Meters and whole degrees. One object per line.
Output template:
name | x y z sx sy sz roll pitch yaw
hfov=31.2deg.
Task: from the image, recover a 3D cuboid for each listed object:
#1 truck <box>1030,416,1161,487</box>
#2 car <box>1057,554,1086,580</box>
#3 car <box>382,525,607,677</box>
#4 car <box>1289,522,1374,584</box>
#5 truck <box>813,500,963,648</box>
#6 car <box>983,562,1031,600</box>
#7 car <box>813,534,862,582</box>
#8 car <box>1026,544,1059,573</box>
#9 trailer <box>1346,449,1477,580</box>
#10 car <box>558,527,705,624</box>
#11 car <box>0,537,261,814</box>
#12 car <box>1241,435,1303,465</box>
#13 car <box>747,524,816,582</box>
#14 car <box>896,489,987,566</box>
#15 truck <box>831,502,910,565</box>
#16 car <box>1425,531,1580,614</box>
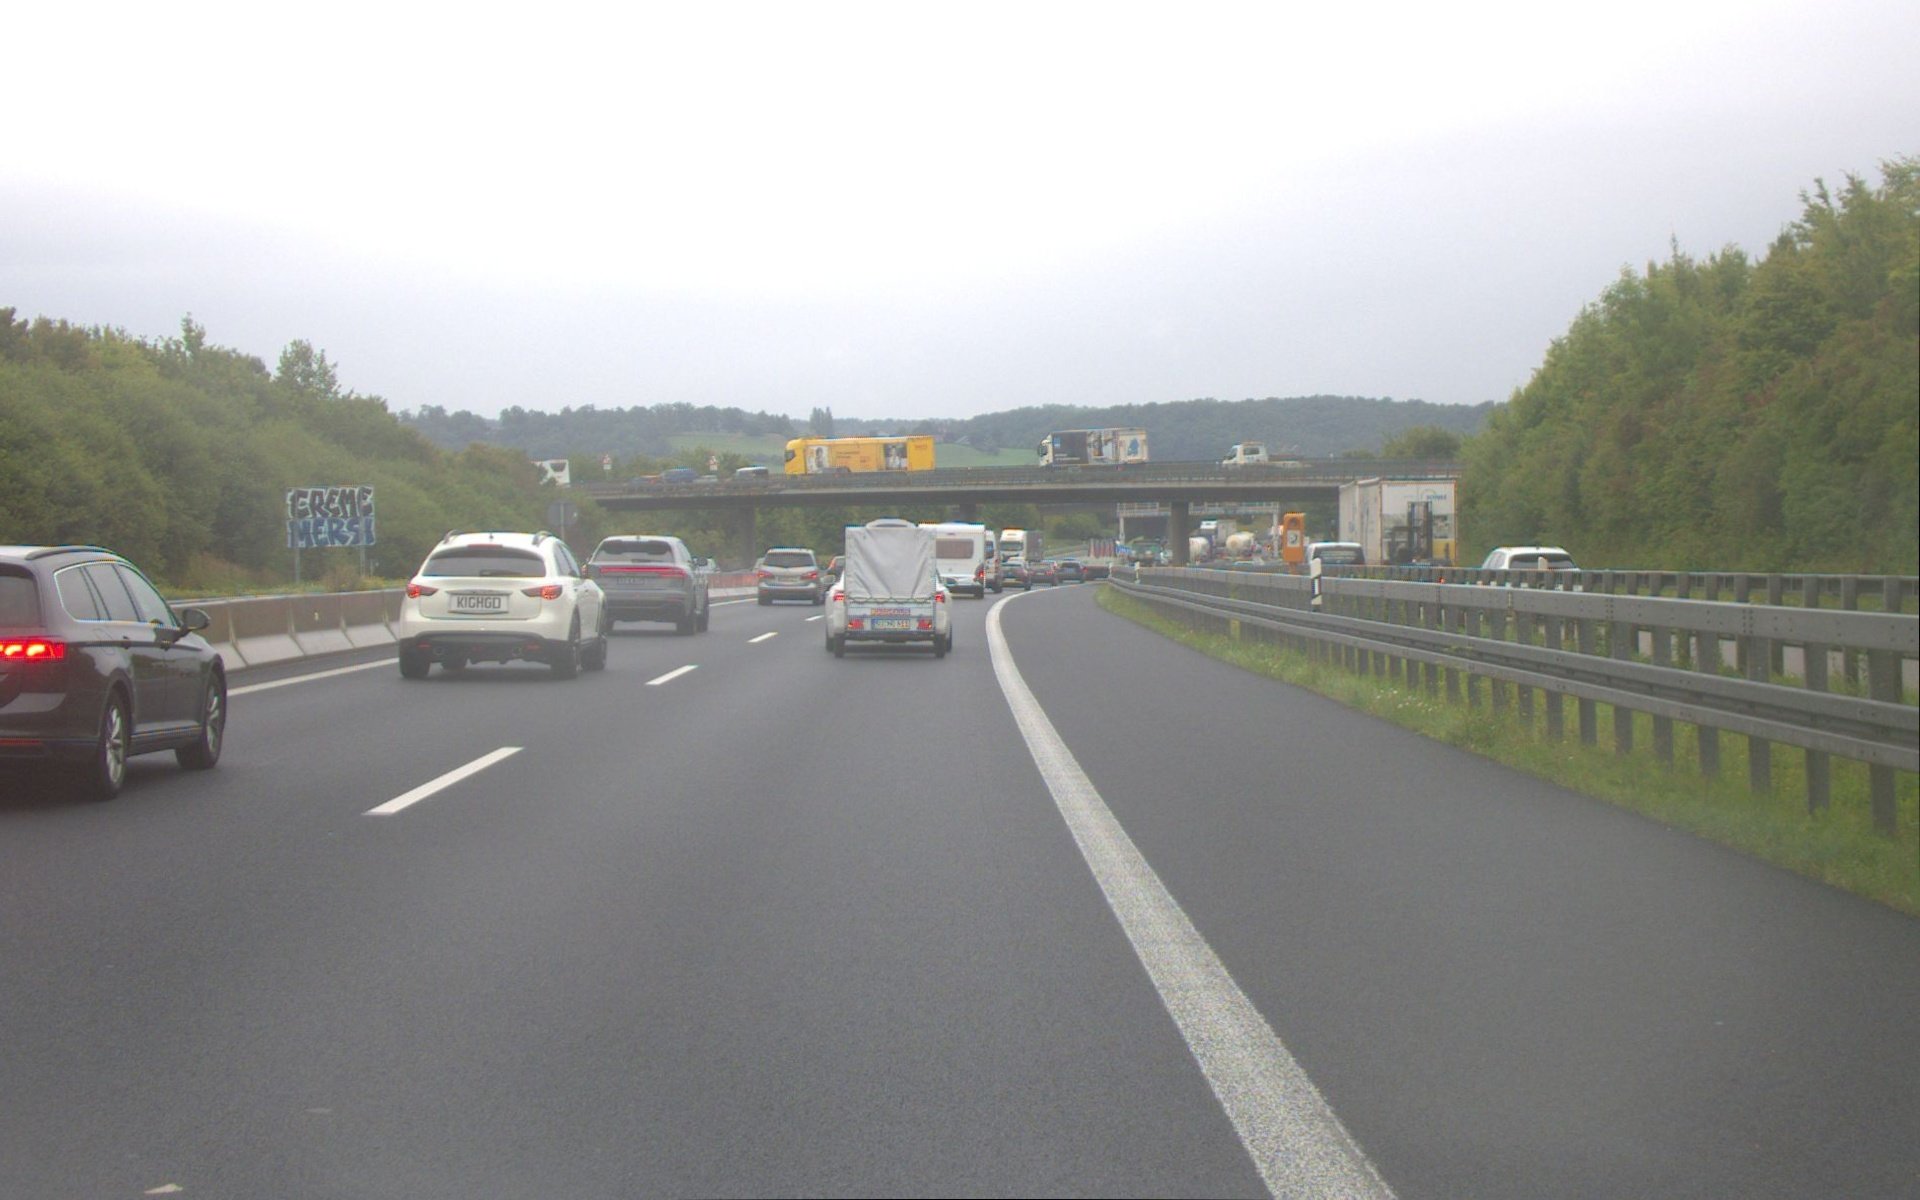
truck | 9.692 -10.610 246.638 3.767 4.819 10.042 -1 1 -38
car | 7.788 -2.294 240.537 1.993 1.744 4.000 1 1 1
car | -5.252 -0.031 39.365 1.976 1.633 4.501 0 1 0
car | 11.041 -1.403 102.439 1.859 1.799 4.648 0 1 -2
truck | -1.097 -0.434 49.915 2.019 1.978 7.214 0 1 -2
car | 2.281 -0.940 167.546 1.993 1.744 4.001 1 1 -4
car | -4.667 -1.614 130.965 1.841 1.813 4.001 0 1 -2
car | 5.099 -2.576 213.057 1.993 1.744 4.000 1 1 0
trailer | 15.343 -2.907 117.649 3.437 4.274 10.454 0 1 2
car | -5.668 -0.454 59.811 2.174 1.626 4.501 0 1 -1
car | -5.665 0.384 20.940 1.900 1.492 4.852 0 1 -1
car | 20.888 -10.032 230.402 1.838 1.908 3.999 0 1 -39
car | -5.048 -1.357 97.456 1.900 1.607 4.017 0 1 -2
car | -0.597 -2.528 119.598 3.017 2.607 6.075 0 1 1
truck | -5.137 -3.842 199.596 3.766 3.542 13.186 0 1 2
car | 10.491 -0.558 66.817 2.007 1.543 4.696 0 1 -4
